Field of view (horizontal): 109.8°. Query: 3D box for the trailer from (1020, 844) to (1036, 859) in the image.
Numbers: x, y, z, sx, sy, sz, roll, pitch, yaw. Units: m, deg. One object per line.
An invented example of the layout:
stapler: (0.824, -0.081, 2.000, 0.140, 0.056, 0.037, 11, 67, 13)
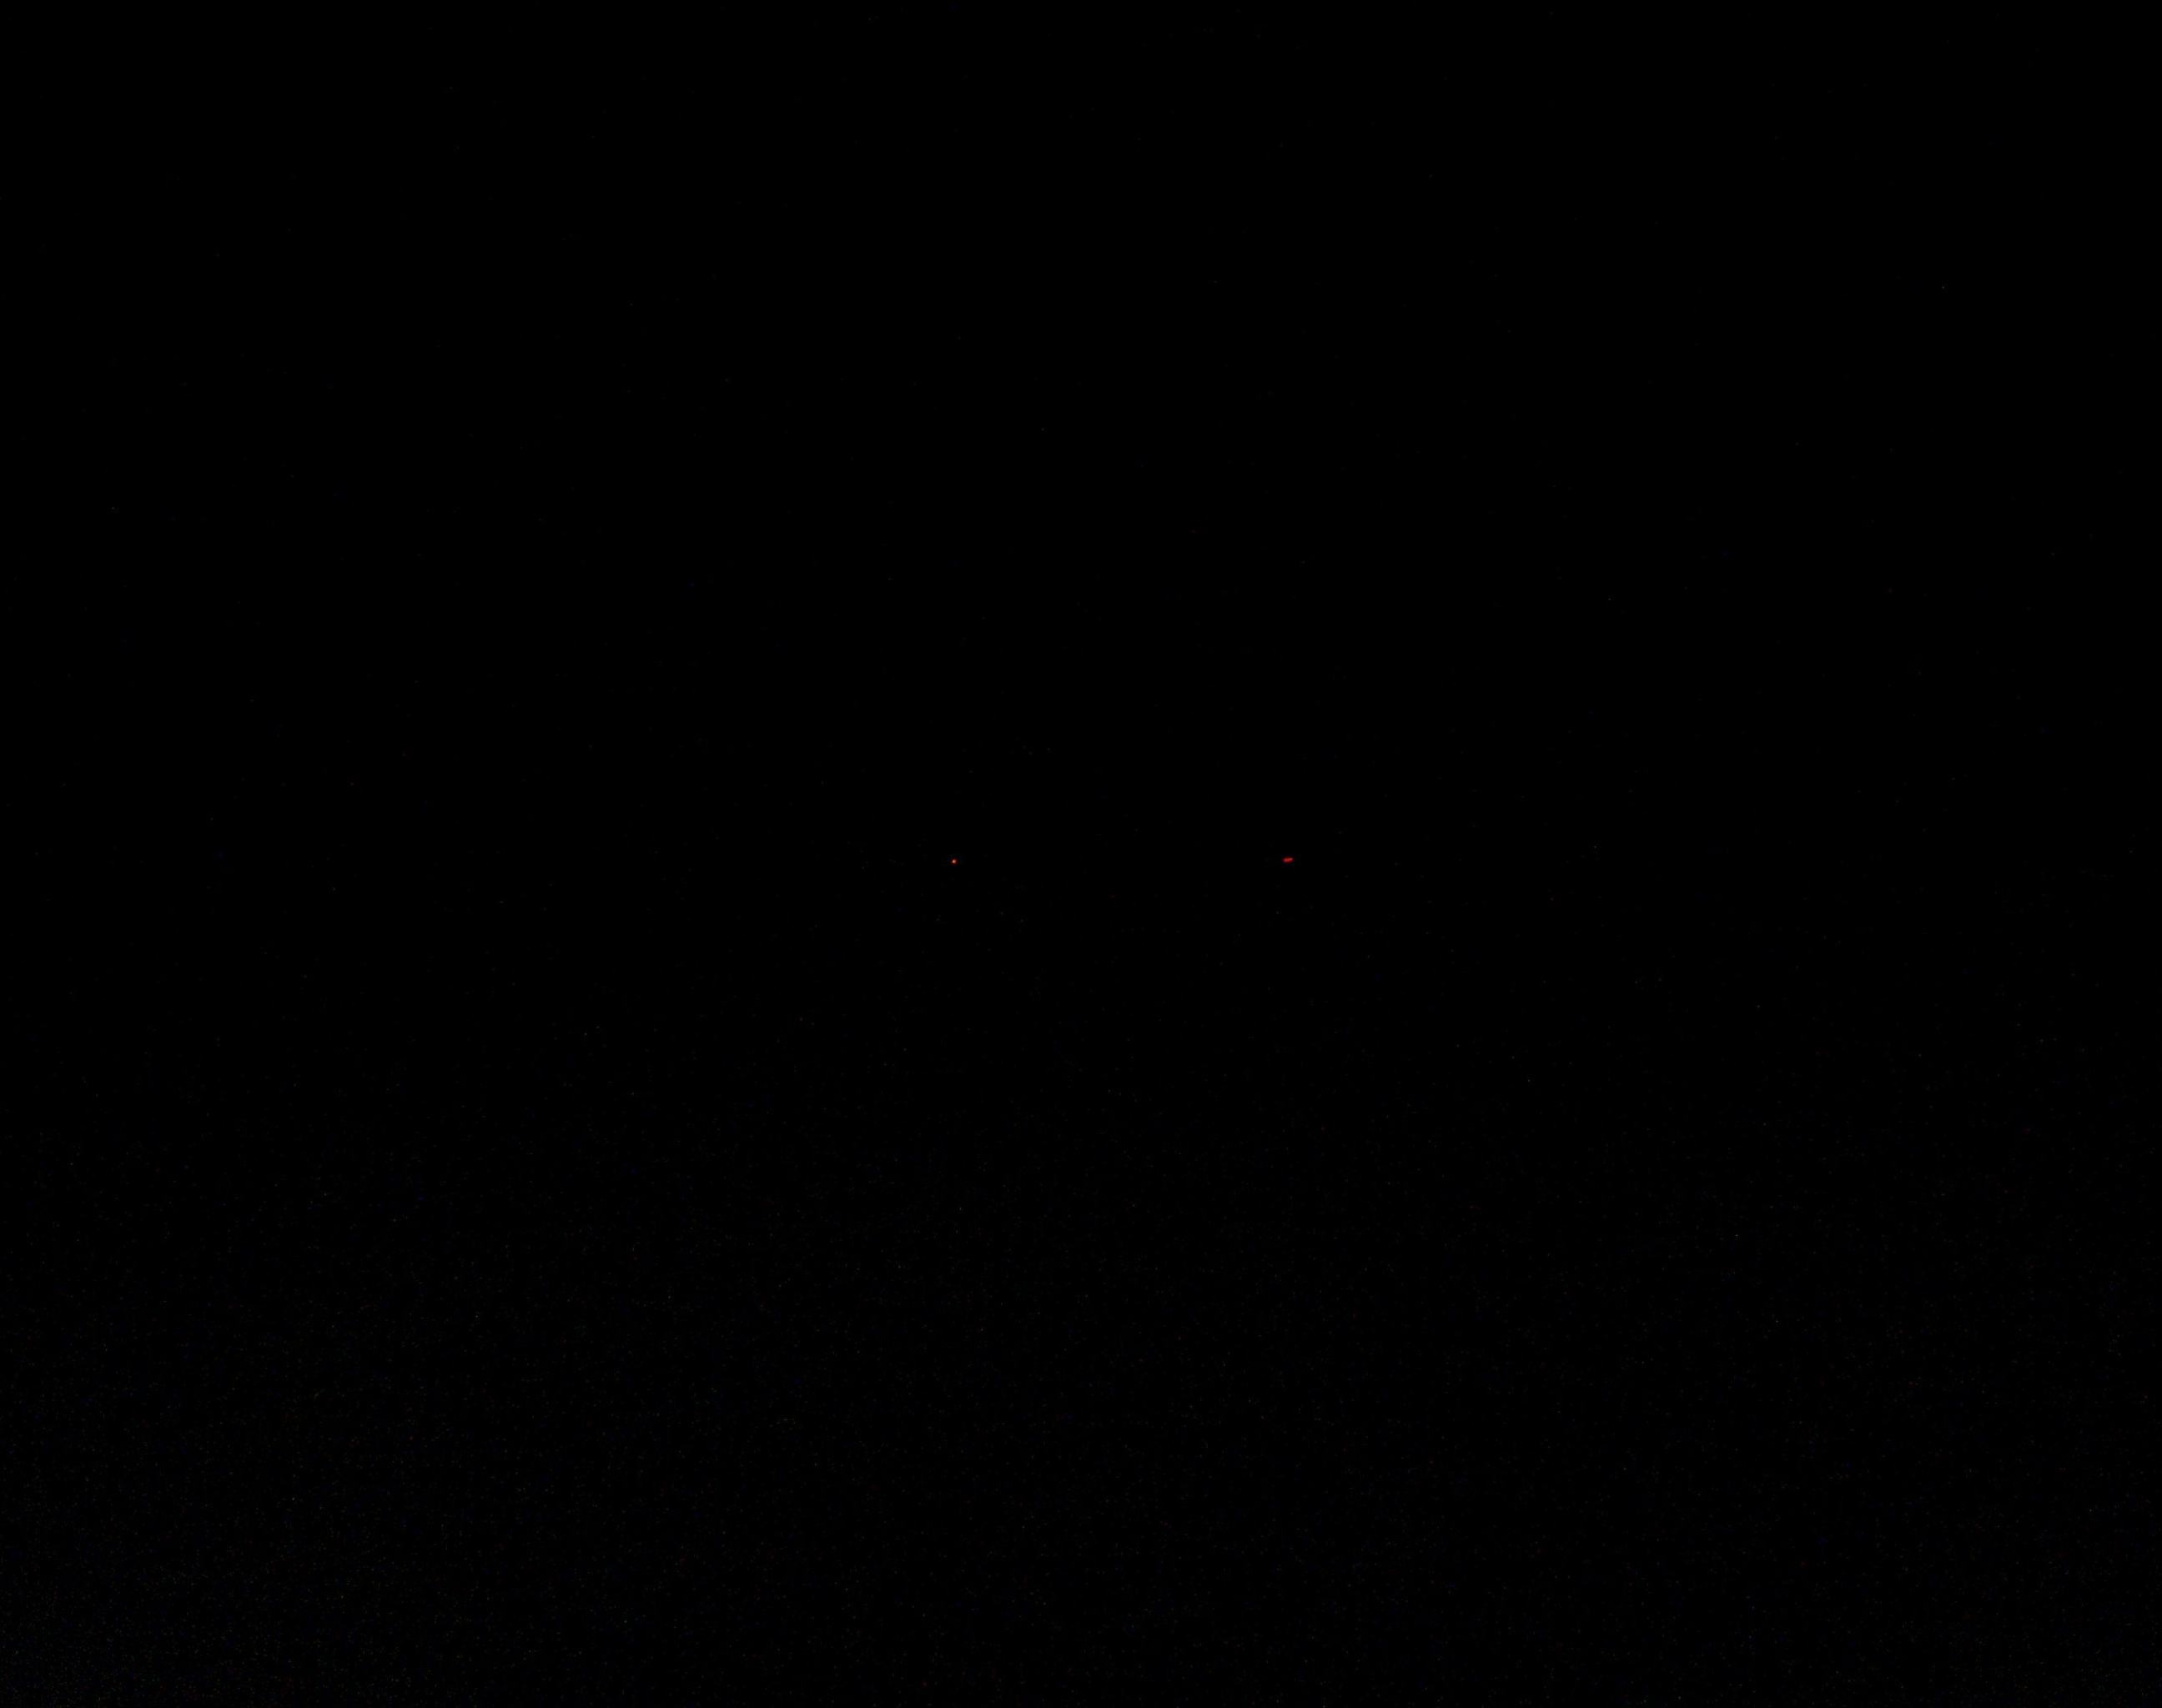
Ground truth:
trailer: (-14.232, -0.539, 204.467, 2.727, 3.933, 9.036, -1, 0, -14)

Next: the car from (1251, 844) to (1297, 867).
car: (14.545, 0.104, 57.521, 1.999, 1.648, 4.532, -1, 1, -5)
